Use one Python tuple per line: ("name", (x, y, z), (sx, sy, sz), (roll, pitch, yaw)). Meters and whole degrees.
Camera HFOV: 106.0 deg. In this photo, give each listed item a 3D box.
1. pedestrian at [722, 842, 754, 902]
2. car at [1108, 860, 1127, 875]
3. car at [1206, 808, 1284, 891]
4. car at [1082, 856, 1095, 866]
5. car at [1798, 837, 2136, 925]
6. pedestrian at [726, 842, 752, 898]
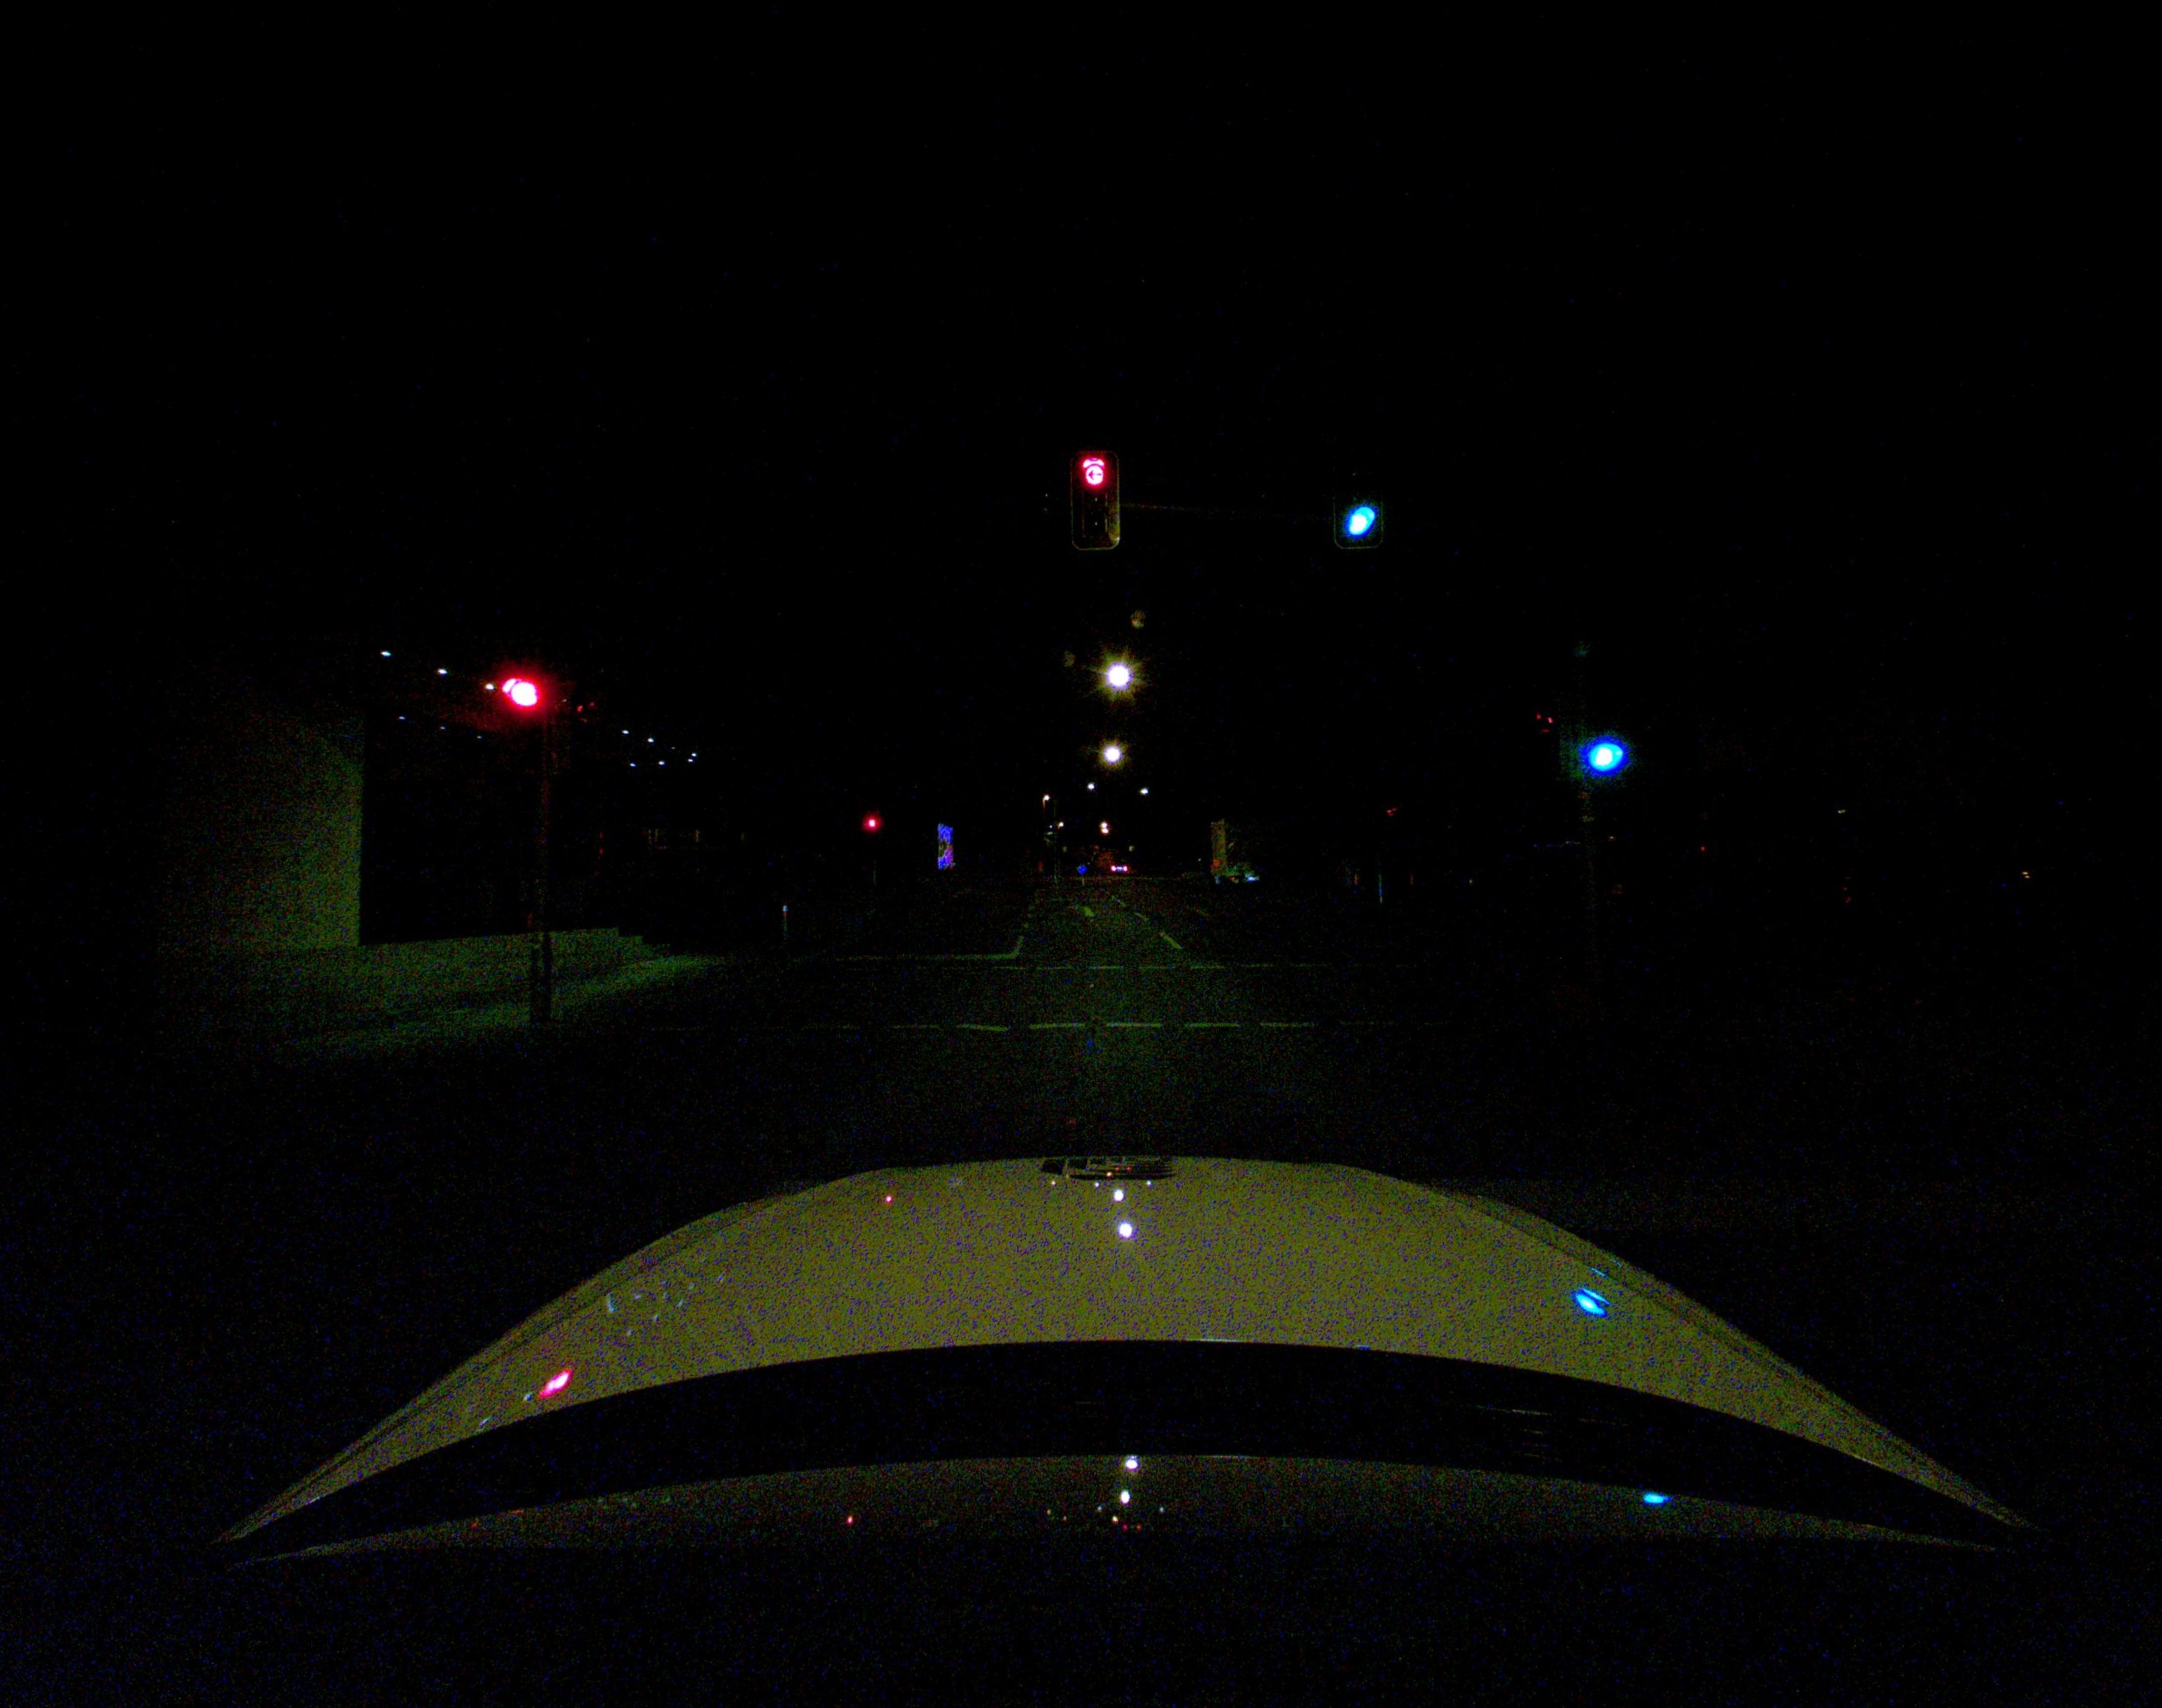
("pedestrian", (-10.304, 0.540, 24.494), (0.568, 1.778, 0.737), (1, -1, 1))
("car", (3.936, 1.454, 88.196), (1.771, 1.486, 3.997), (0, -1, -2))
("car", (6.757, -0.151, 34.219), (2.287, 3.093, 5.845), (-2, -1, 3))
("car", (1.251, 1.167, 134.558), (1.901, 1.557, 3.906), (0, -1, 2))
("car", (17.453, 0.564, 16.285), (4.342, 1.560, 1.807), (-2, -3, 8))
("pedestrian", (-10.749, 0.505, 25.575), (0.568, 1.731, 0.544), (0, -1, 1))
